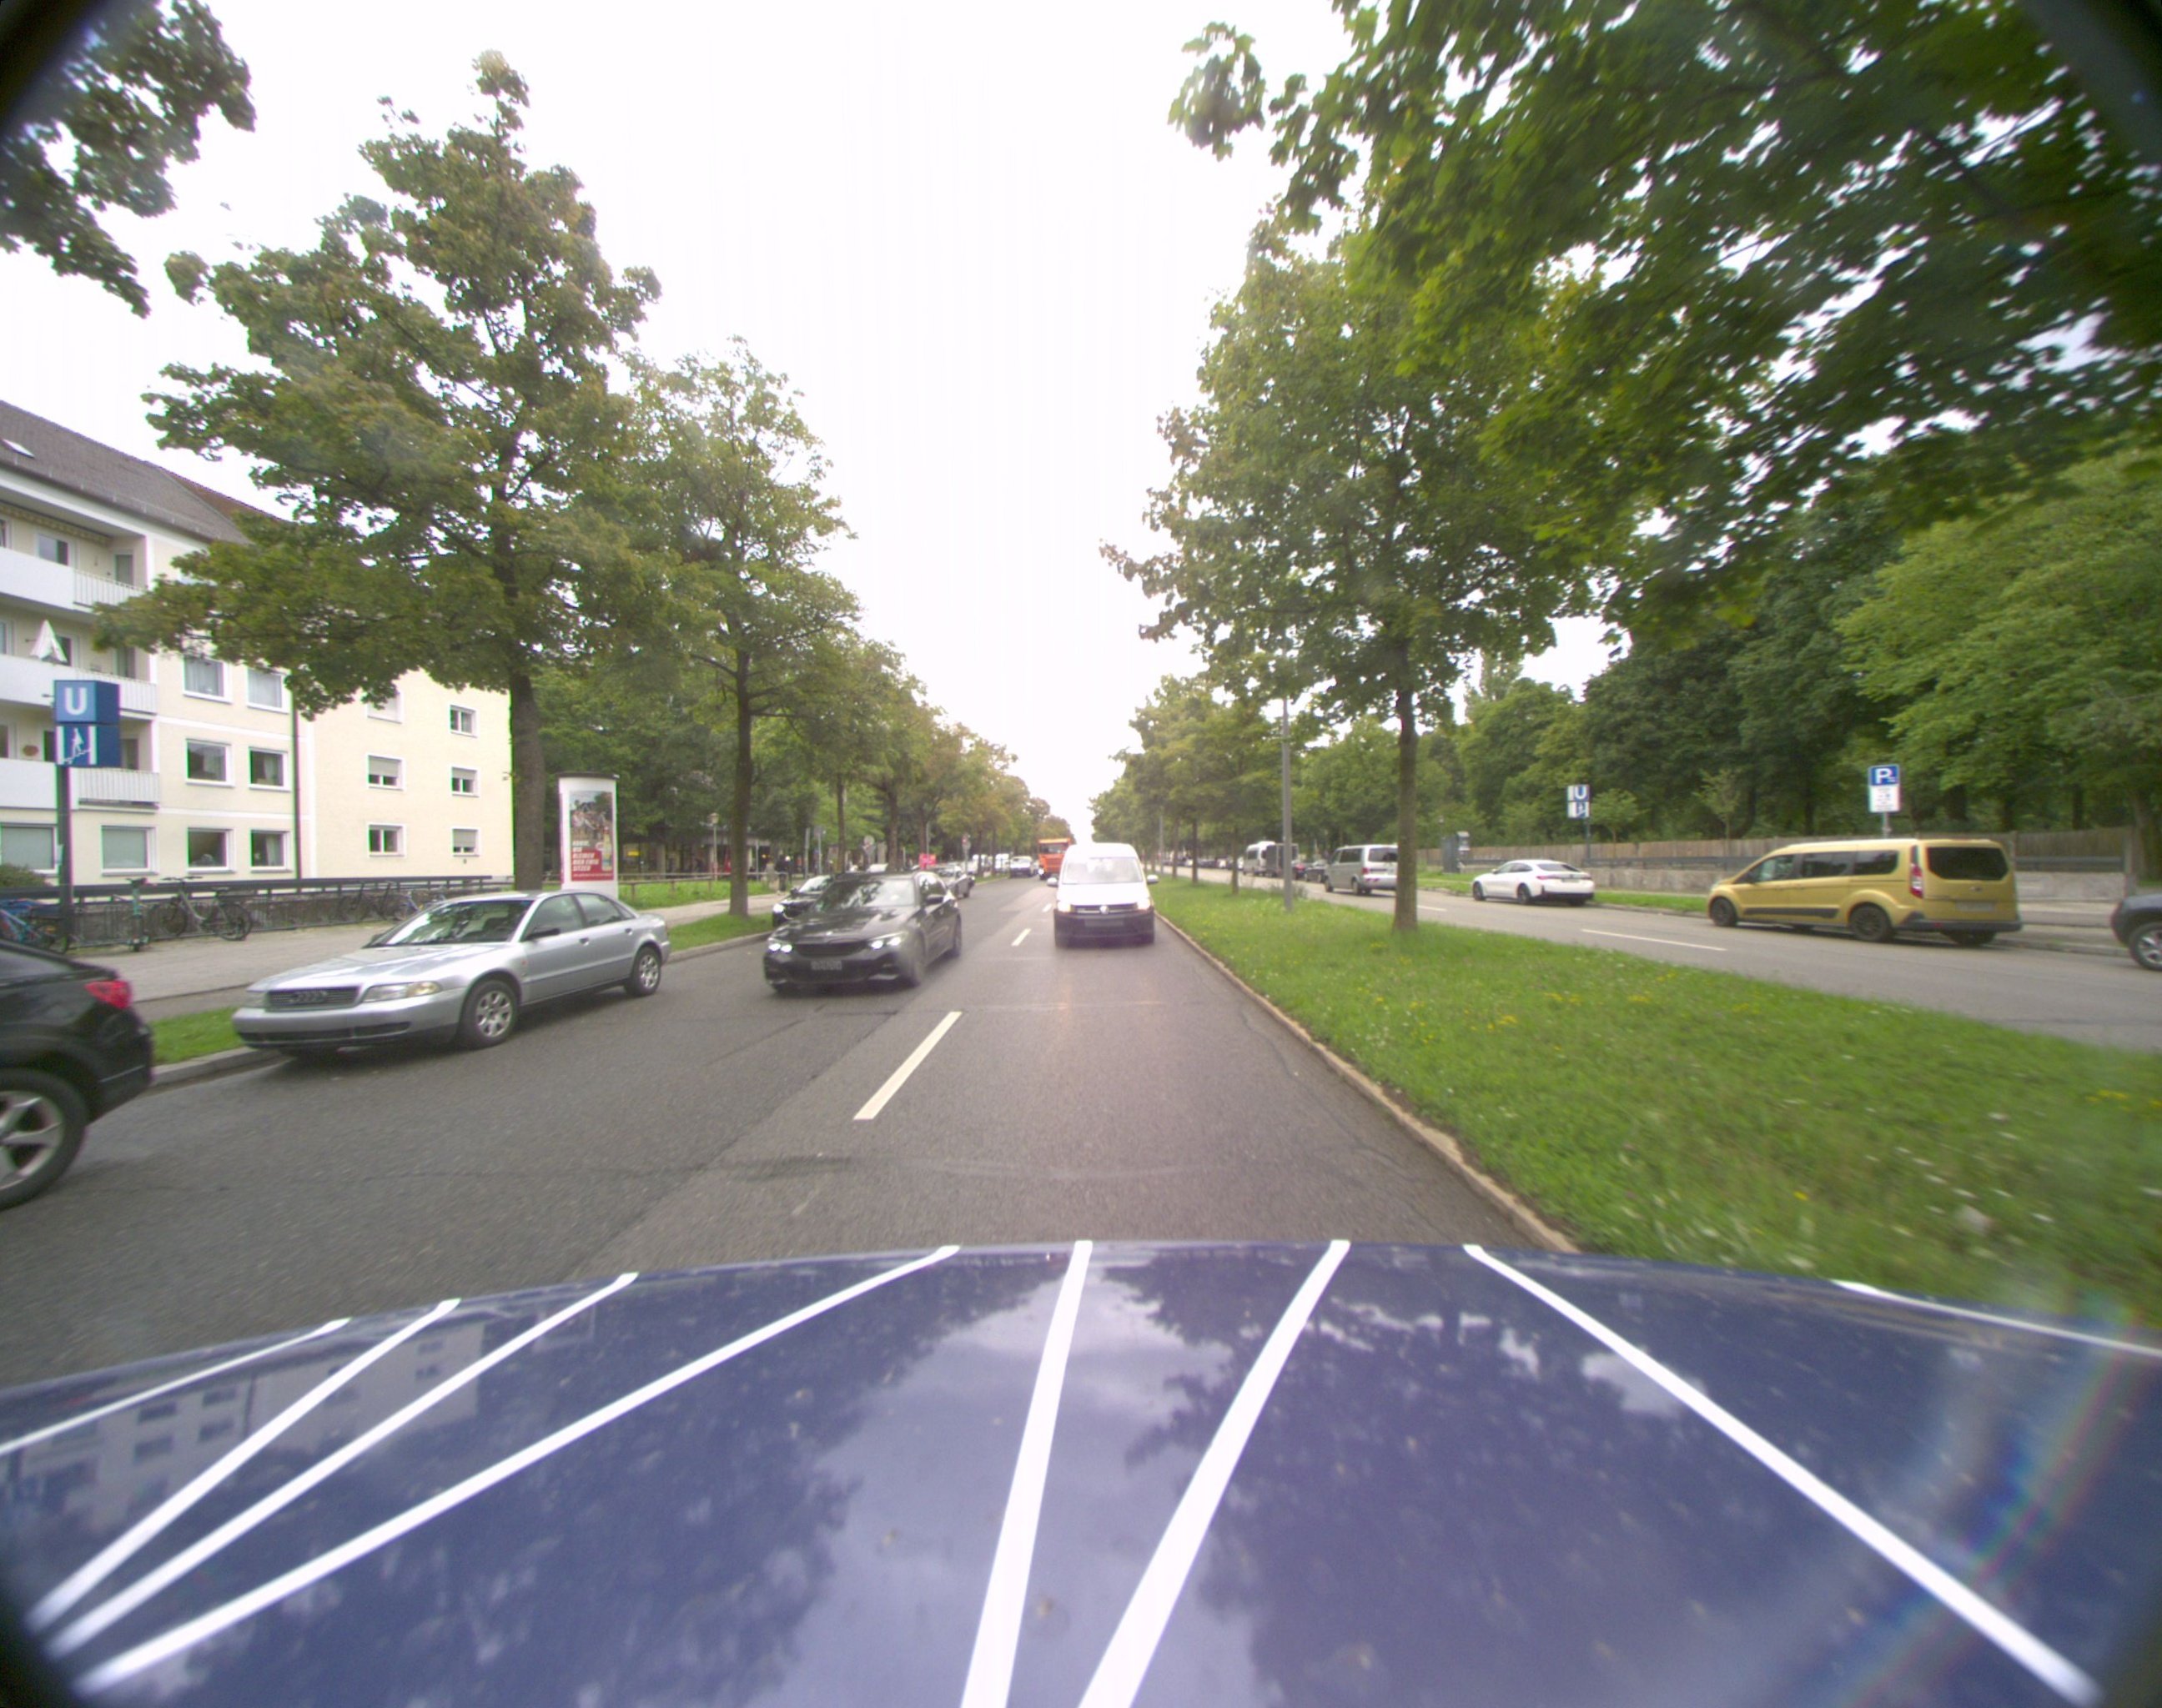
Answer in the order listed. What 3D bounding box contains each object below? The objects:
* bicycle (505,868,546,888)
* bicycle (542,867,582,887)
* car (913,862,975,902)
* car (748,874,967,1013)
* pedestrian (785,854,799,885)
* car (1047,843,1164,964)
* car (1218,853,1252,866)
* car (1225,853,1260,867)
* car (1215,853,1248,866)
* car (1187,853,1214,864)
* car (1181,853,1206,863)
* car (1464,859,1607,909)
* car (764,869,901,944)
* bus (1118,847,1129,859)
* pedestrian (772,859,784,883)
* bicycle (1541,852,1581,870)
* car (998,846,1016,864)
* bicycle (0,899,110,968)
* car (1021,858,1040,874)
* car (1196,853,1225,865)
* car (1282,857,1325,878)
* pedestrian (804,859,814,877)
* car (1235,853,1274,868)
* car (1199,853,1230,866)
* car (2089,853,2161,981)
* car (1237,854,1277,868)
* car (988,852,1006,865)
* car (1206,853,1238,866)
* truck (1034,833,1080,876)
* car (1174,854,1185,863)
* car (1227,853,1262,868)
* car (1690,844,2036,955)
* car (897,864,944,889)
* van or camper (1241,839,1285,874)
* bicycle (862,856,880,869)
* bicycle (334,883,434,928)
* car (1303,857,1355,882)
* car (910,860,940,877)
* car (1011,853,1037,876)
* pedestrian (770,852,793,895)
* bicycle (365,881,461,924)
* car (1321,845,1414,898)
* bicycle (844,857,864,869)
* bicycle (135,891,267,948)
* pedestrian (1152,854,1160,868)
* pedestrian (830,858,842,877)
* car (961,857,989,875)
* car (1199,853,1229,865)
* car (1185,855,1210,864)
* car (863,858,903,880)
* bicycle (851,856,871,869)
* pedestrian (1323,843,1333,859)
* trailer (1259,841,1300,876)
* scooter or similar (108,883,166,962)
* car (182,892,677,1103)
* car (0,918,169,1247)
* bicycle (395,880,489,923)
[{"bbox_3d":[-28.419,1.225,38.903,1.696,0.965,0.455,-1,0,-3],"label":"bicycle"},{"bbox_3d":[-26.634,1.169,39.018,1.696,0.965,0.455,-1,0,-3],"label":"bicycle"},{"bbox_3d":[-5.749,1.136,32.316,1.686,1.457,4.115,-2,0,2],"label":"car"},{"bbox_3d":[-2.872,1.076,10.866,1.763,1.405,4.462,-2,0,0],"label":"car"},{"bbox_3d":[-16.402,0.870,43.102,0.642,1.720,0.600,-2,1,-28],"label":"pedestrian"},{"bbox_3d":[0.380,0.775,14.180,1.750,1.807,4.667,-2,0,0],"label":"car"},{"bbox_3d":[20.326,0.686,100.048,4.005,1.455,1.888,-3,0,-27],"label":"car"},{"bbox_3d":[19.916,0.721,93.753,4.005,1.577,1.798,-3,0,-28],"label":"car"},{"bbox_3d":[20.428,0.760,103.096,4.005,1.446,1.737,-3,0,-27],"label":"car"},{"bbox_3d":[19.604,0.792,124.265,4.006,1.548,1.887,-3,0,-31],"label":"car"},{"bbox_3d":[19.864,0.675,134.141,4.006,1.718,1.777,-2,1,-33],"label":"car"},{"bbox_3d":[14.984,0.923,25.427,1.861,1.464,4.875,0,0,0],"label":"car"},{"bbox_3d":[-5.821,1.179,18.390,1.755,1.457,4.176,-2,0,2],"label":"car"},{"bbox_3d":[12.212,-0.241,219.293,2.676,3.279,11.926,1,0,2],"label":"bus"},{"bbox_3d":[-19.811,1.098,49.664,0.581,1.565,0.779,-3,1,-31],"label":"pedestrian"},{"bbox_3d":[25.903,0.368,41.021,1.824,0.924,0.433,-2,1,0],"label":"bicycle"},{"bbox_3d":[-11.632,0.186,120.042,1.978,2.641,6.006,-2,0,1],"label":"car"},{"bbox_3d":[-16.408,1.235,11.847,1.882,1.022,0.432,0,1,-2],"label":"bicycle"},{"bbox_3d":[-5.138,1.194,77.491,1.701,1.440,4.041,-3,0,-1],"label":"car"},{"bbox_3d":[19.574,0.728,115.250,4.006,1.548,1.887,-3,0,-31],"label":"car"},{"bbox_3d":[15.371,0.932,52.666,1.804,1.376,4.238,0,0,1],"label":"car"},{"bbox_3d":[-23.602,1.244,65.936,0.633,1.533,0.658,0,1,-43],"label":"pedestrian"},{"bbox_3d":[20.026,0.692,87.777,4.331,1.564,1.797,-2,1,-33],"label":"car"},{"bbox_3d":[19.061,0.758,108.672,4.006,1.548,1.887,-3,0,-31],"label":"car"},{"bbox_3d":[14.694,0.808,8.291,1.741,1.636,4.256,0,0,0],"label":"car"},{"bbox_3d":[19.485,0.779,84.124,4.331,1.430,1.797,-2,1,-33],"label":"car"},{"bbox_3d":[-14.517,0.807,131.793,2.268,2.091,5.858,-1,0,1],"label":"car"},{"bbox_3d":[19.663,0.752,106.096,4.005,1.548,1.888,-3,0,-27],"label":"car"},{"bbox_3d":[-1.817,0.014,62.043,3.046,3.170,9.134,-2,0,2],"label":"truck"},{"bbox_3d":[18.767,0.863,145.094,1.889,1.435,4.170,-2,0,5],"label":"car"},{"bbox_3d":[19.554,0.777,90.766,4.006,1.477,1.797,-3,0,-34],"label":"car"},{"bbox_3d":[14.541,0.740,14.672,1.818,1.772,4.818,0,0,2],"label":"car"},{"bbox_3d":[-9.889,1.355,47.015,1.726,1.371,4.352,-2,0,3],"label":"car"},{"bbox_3d":[15.387,0.207,64.652,2.040,2.821,7.547,0,0,1],"label":"van or camper"},{"bbox_3d":[-27.847,1.115,100.666,2.316,1.613,0.648,-1,0,-16],"label":"bicycle"},{"bbox_3d":[-16.419,1.201,17.914,1.882,1.022,0.432,0,1,-2],"label":"bicycle"},{"bbox_3d":[15.086,0.897,46.409,1.804,1.417,4.431,0,0,1],"label":"car"},{"bbox_3d":[-15.025,1.362,73.399,1.826,1.522,4.603,0,0,3],"label":"car"},{"bbox_3d":[-5.277,0.939,70.482,1.886,1.916,4.933,-2,0,1],"label":"car"},{"bbox_3d":[-12.529,0.810,31.812,0.641,1.739,0.849,1,0,-2],"label":"pedestrian"},{"bbox_3d":[-16.491,1.199,18.779,1.883,1.022,0.432,0,1,-5],"label":"bicycle"},{"bbox_3d":[11.243,0.614,30.197,1.804,1.922,4.993,0,0,0],"label":"car"},{"bbox_3d":[-27.971,1.108,93.602,2.313,1.523,0.649,-1,0,1],"label":"bicycle"},{"bbox_3d":[-16.493,1.219,14.261,1.882,1.022,0.432,0,1,-2],"label":"bicycle"},{"bbox_3d":[9.297,0.913,94.165,0.872,1.689,0.771,0,2,21],"label":"pedestrian"},{"bbox_3d":[-20.859,1.141,64.698,0.658,1.584,0.755,-1,0,19],"label":"pedestrian"},{"bbox_3d":[-9.348,1.037,67.139,1.732,1.424,4.691,-2,0,1],"label":"car"},{"bbox_3d":[19.704,0.767,112.320,4.006,1.548,1.887,-3,0,-31],"label":"car"},{"bbox_3d":[19.628,0.867,127.525,4.006,1.358,1.588,-2,1,-29],"label":"car"},{"bbox_3d":[-15.443,1.113,59.505,1.826,1.624,4.198,0,0,3],"label":"car"},{"bbox_3d":[-27.754,1.040,95.752,2.313,1.613,0.649,-1,0,1],"label":"bicycle"},{"bbox_3d":[28.097,-0.369,86.370,0.770,1.757,0.874,0,1,-3],"label":"pedestrian"},{"bbox_3d":[15.262,0.320,58.598,2.022,2.575,4.659,0,0,1],"label":"trailer"},{"bbox_3d":[-15.749,1.110,12.694,0.359,1.193,1.386,-1,1,-41],"label":"scooter or similar"},{"bbox_3d":[-6.217,1.226,8.067,1.640,1.378,4.243,-2,0,-2],"label":"car"},{"bbox_3d":[-6.107,1.161,2.178,1.721,1.524,4.275,-2,0,1],"label":"car"},{"bbox_3d":[-16.250,1.201,19.335,1.883,1.022,0.432,0,1,-7],"label":"bicycle"}]
